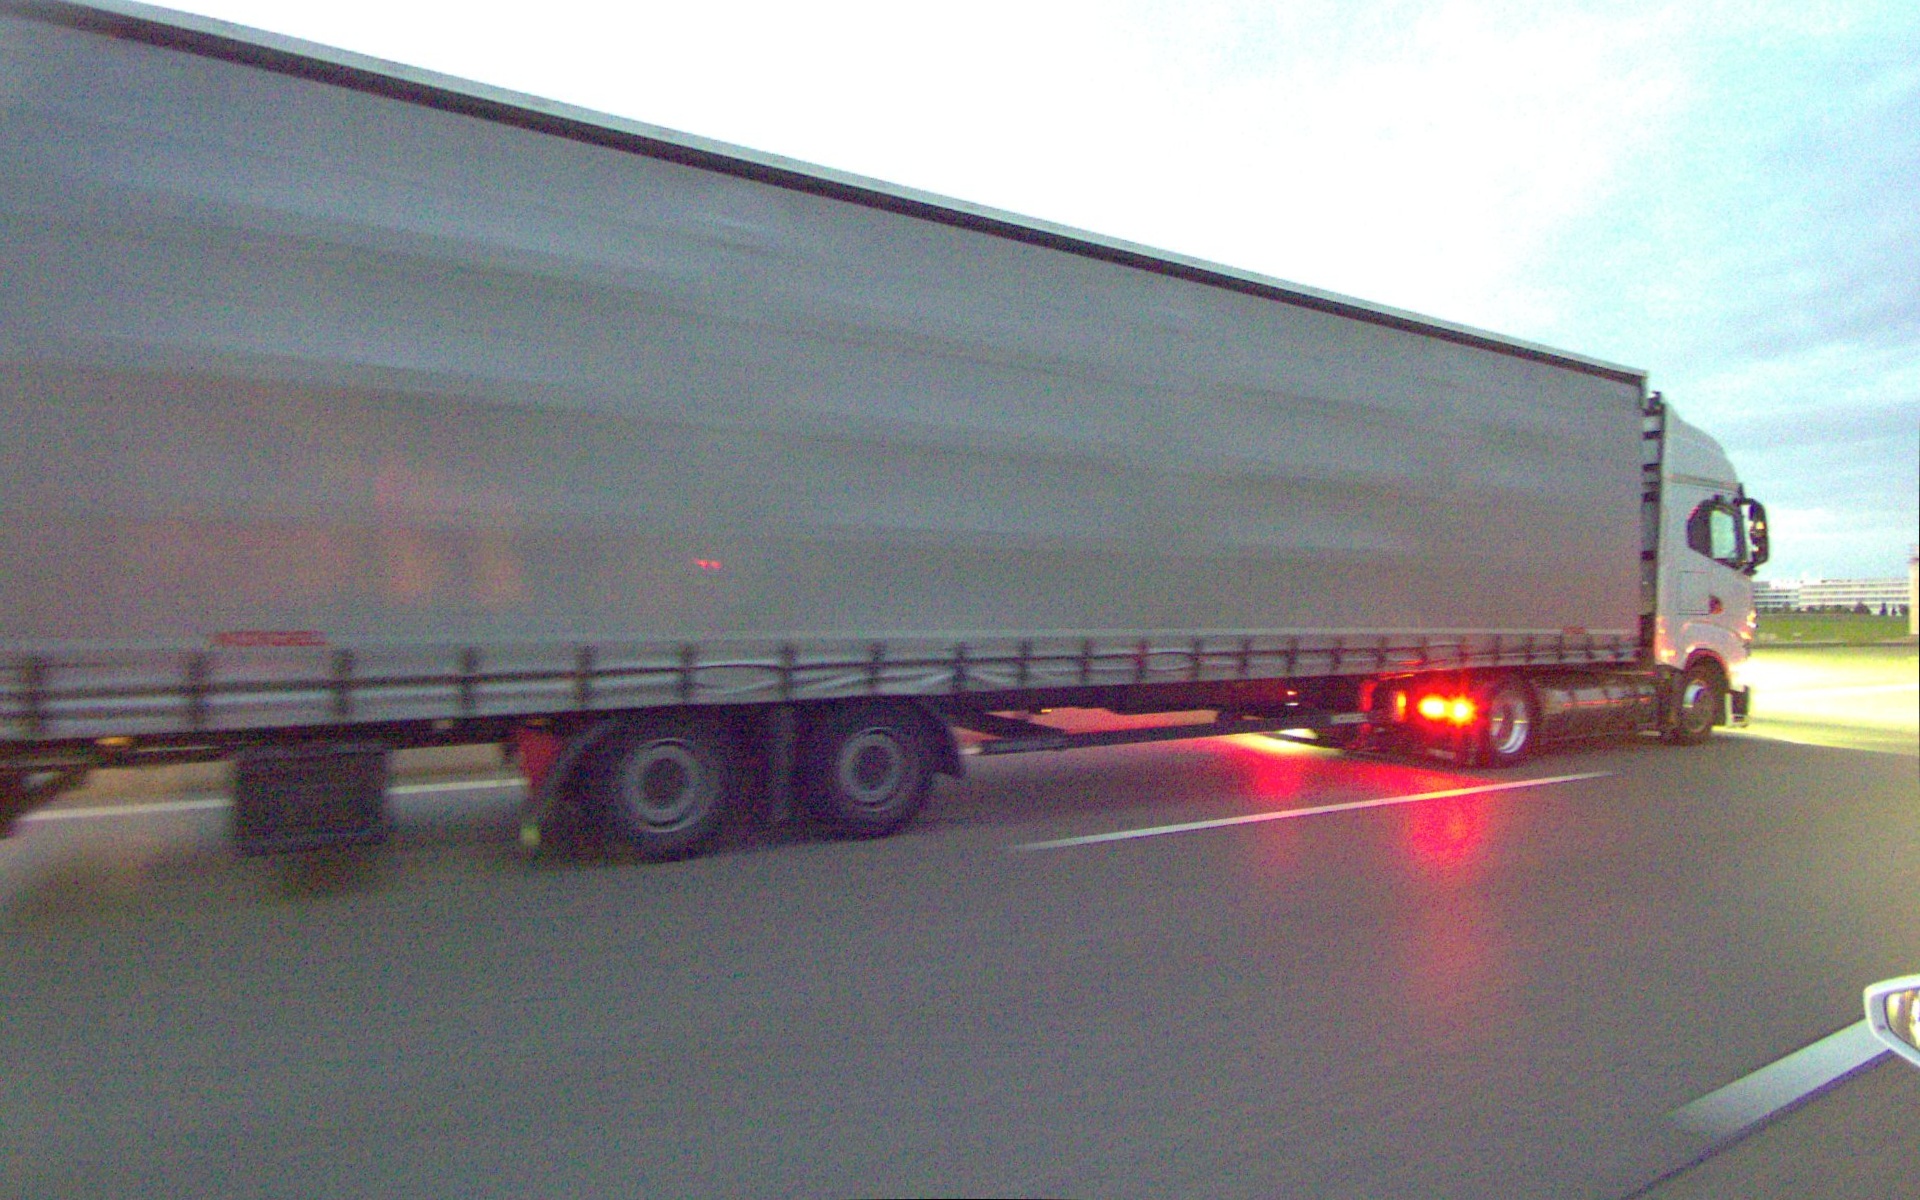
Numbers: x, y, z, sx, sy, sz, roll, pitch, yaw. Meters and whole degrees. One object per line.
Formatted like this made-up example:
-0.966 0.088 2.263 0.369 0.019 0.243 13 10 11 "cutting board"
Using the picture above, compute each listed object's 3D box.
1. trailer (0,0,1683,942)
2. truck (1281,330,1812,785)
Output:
0.730 -0.495 8.282 14.351 4.139 2.782 2 -2 -30 "trailer"
6.996 -0.291 11.846 6.029 4.146 2.765 2 -2 -29 "truck"
